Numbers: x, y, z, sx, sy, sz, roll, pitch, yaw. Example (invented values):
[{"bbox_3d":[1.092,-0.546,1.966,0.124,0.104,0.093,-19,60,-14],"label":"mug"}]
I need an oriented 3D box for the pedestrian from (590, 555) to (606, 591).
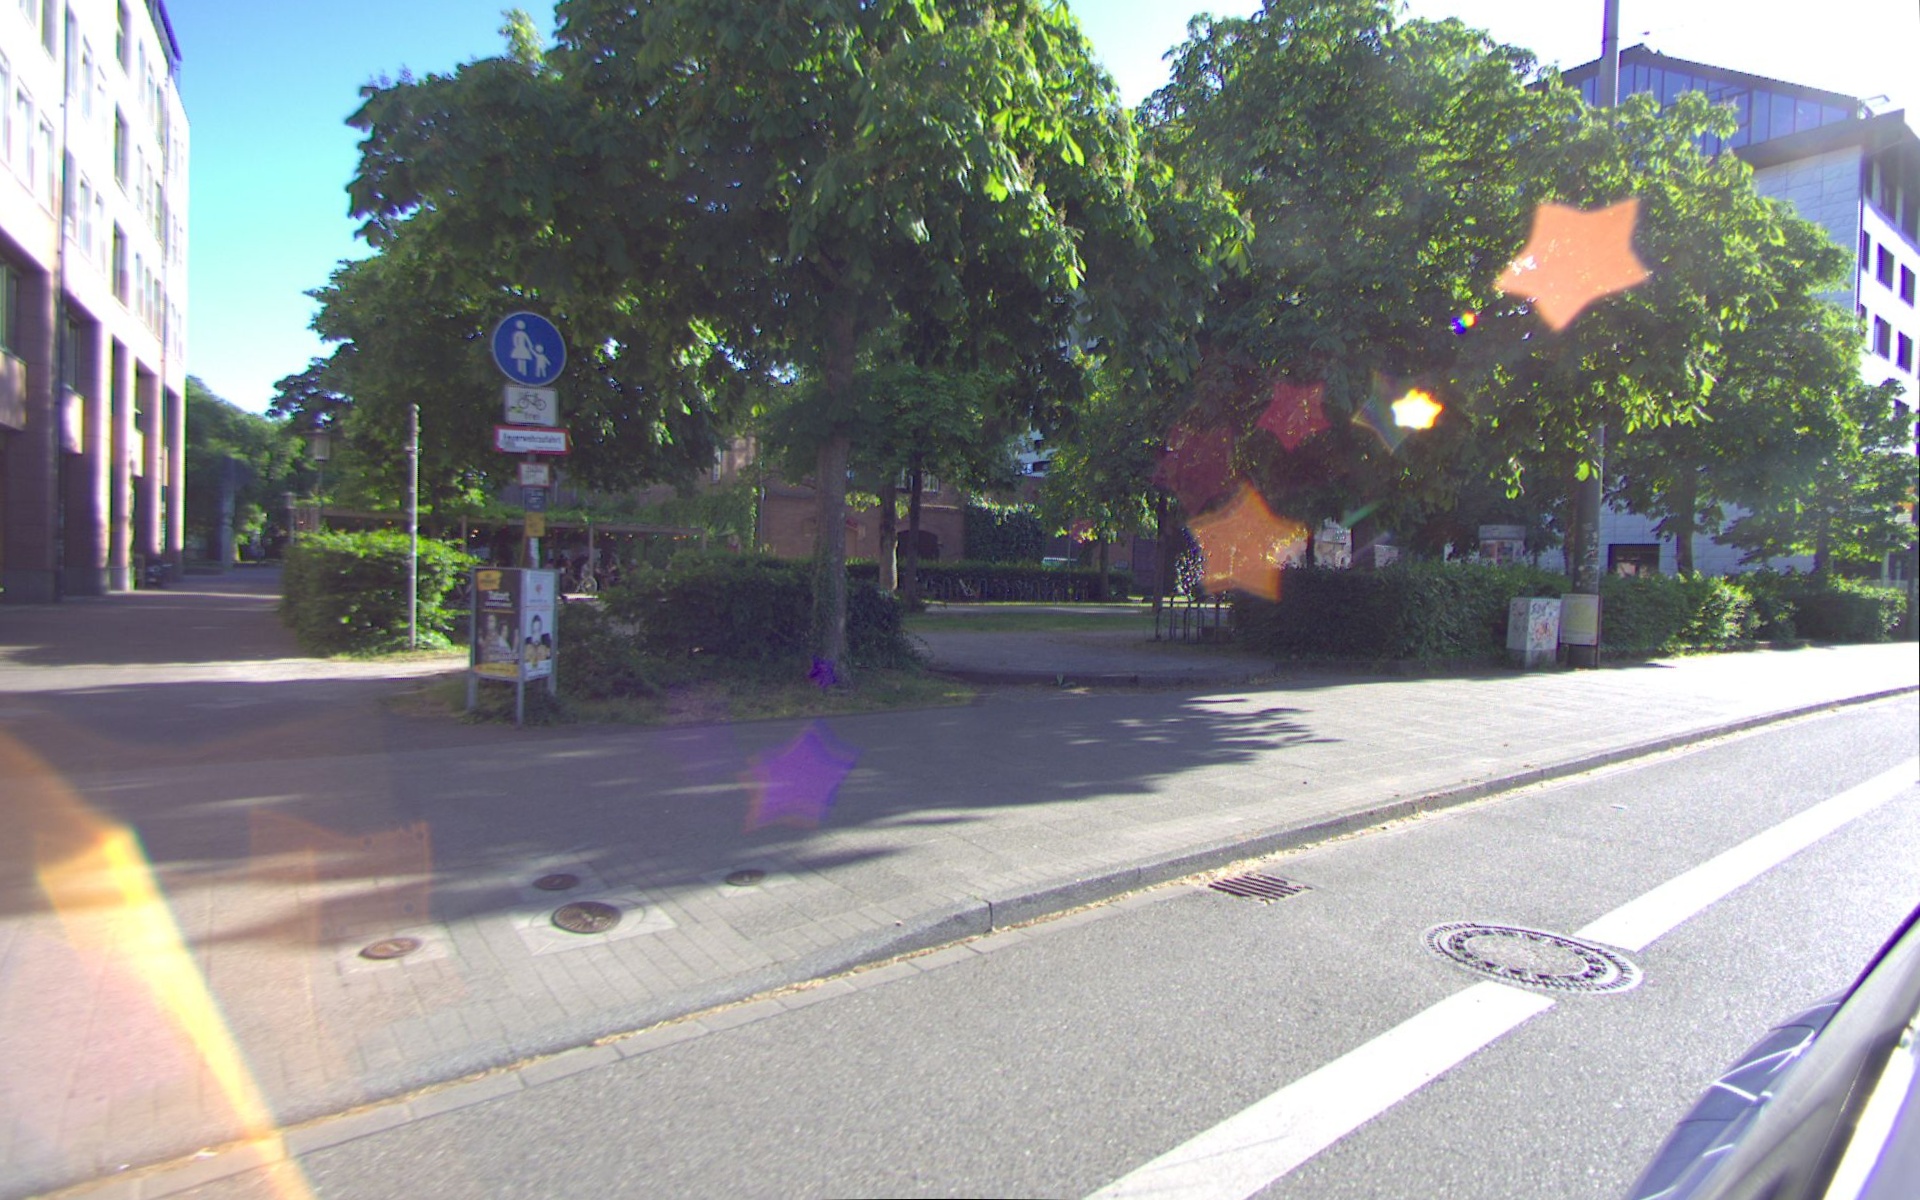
[{"bbox_3d":[-14.614,-1.070,40.824,0.579,1.417,0.833,0,0,-23],"label":"pedestrian"}]

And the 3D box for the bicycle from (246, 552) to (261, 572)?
[{"bbox_3d":[-50.583,-2.726,72.497,0.703,1.331,2.897,0,0,-31],"label":"bicycle"}]

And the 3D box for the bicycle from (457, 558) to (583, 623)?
[{"bbox_3d":[-8.042,-0.173,18.573,2.087,1.144,0.453,0,0,-19],"label":"bicycle"}]

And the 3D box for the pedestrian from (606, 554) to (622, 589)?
[{"bbox_3d":[-14.101,-1.168,41.202,0.579,1.417,0.632,0,0,-22],"label":"pedestrian"}]

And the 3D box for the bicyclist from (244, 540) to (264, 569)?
[{"bbox_3d":[-50.664,-3.271,72.588,1.024,1.996,1.561,0,0,-30],"label":"bicyclist"}]

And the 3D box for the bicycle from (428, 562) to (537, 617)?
[{"bbox_3d":[-10.223,-0.218,21.729,2.097,1.144,0.451,0,0,-44],"label":"bicycle"}]

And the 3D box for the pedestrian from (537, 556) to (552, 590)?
[{"bbox_3d":[-16.658,-1.075,40.592,0.484,1.365,0.352,1,1,-37],"label":"pedestrian"}]

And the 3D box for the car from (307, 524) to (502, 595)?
[{"bbox_3d":[-16.986,-1.185,31.129,5.114,2.038,1.230,0,2,-40],"label":"car"}]

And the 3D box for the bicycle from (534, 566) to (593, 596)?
[{"bbox_3d":[-15.561,-0.741,39.742,2.089,1.144,0.453,0,0,-6],"label":"bicycle"}]

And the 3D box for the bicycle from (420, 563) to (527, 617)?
[{"bbox_3d":[-10.655,-0.220,22.219,2.097,1.144,0.451,0,0,-44],"label":"bicycle"}]

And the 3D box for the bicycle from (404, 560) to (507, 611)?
[{"bbox_3d":[-11.691,-0.321,23.512,2.096,1.144,0.451,0,0,-43],"label":"bicycle"}]

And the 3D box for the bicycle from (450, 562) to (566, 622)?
[{"bbox_3d":[-9.010,-0.153,20.228,2.097,1.144,0.451,0,0,-44],"label":"bicycle"}]

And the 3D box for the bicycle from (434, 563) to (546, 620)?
[{"bbox_3d":[-9.831,-0.184,21.237,2.097,1.144,0.451,0,0,-44],"label":"bicycle"}]

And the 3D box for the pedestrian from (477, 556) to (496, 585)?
[{"bbox_3d":[-18.081,-1.132,38.625,0.579,1.094,0.757,0,0,-18],"label":"pedestrian"}]

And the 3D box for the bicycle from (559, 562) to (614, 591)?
[{"bbox_3d":[-15.322,-0.958,41.560,2.094,1.144,0.452,0,0,-39],"label":"bicycle"}]

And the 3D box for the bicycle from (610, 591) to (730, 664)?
[{"bbox_3d":[-3.669,0.334,12.765,1.660,0.873,0.318,1,0,26],"label":"bicycle"}]

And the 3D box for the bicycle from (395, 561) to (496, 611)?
[{"bbox_3d":[-12.130,-0.320,23.932,2.097,1.144,0.451,0,0,-44],"label":"bicycle"}]

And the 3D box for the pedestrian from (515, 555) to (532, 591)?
[{"bbox_3d":[-17.368,-1.050,40.269,0.579,1.417,0.833,0,0,-20],"label":"pedestrian"}]
